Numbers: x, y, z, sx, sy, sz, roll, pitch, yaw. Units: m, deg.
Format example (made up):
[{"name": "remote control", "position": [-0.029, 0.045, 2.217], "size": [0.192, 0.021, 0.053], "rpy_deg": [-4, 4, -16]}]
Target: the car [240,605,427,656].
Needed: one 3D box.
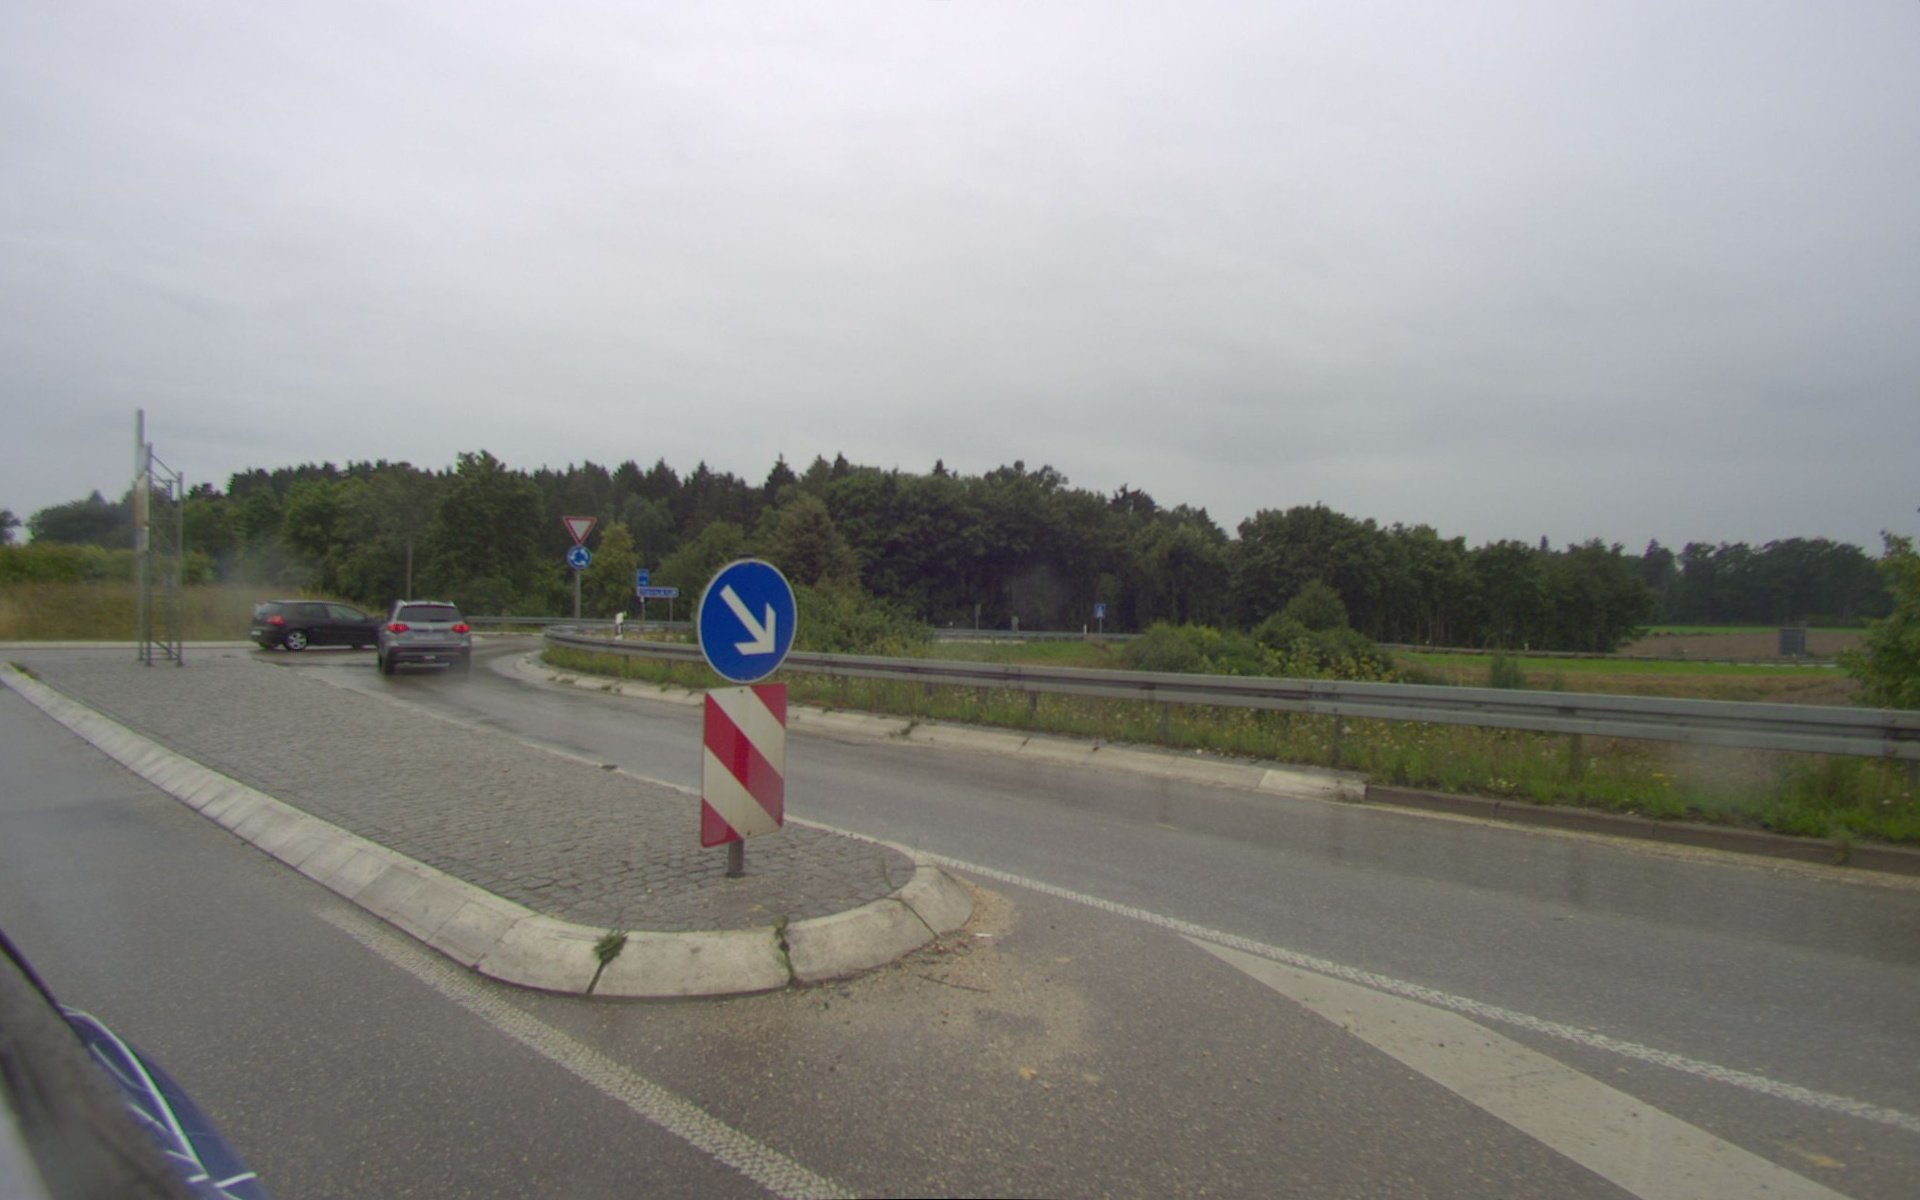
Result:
[{"name": "car", "position": [-18.823, 0.900, 30.575], "size": [1.871, 1.432, 4.448], "rpy_deg": [-2, -2, 36]}]

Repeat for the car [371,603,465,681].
[{"name": "car", "position": [-12.417, 0.881, 23.371], "size": [1.775, 1.587, 4.013], "rpy_deg": [0, 0, -26]}]
